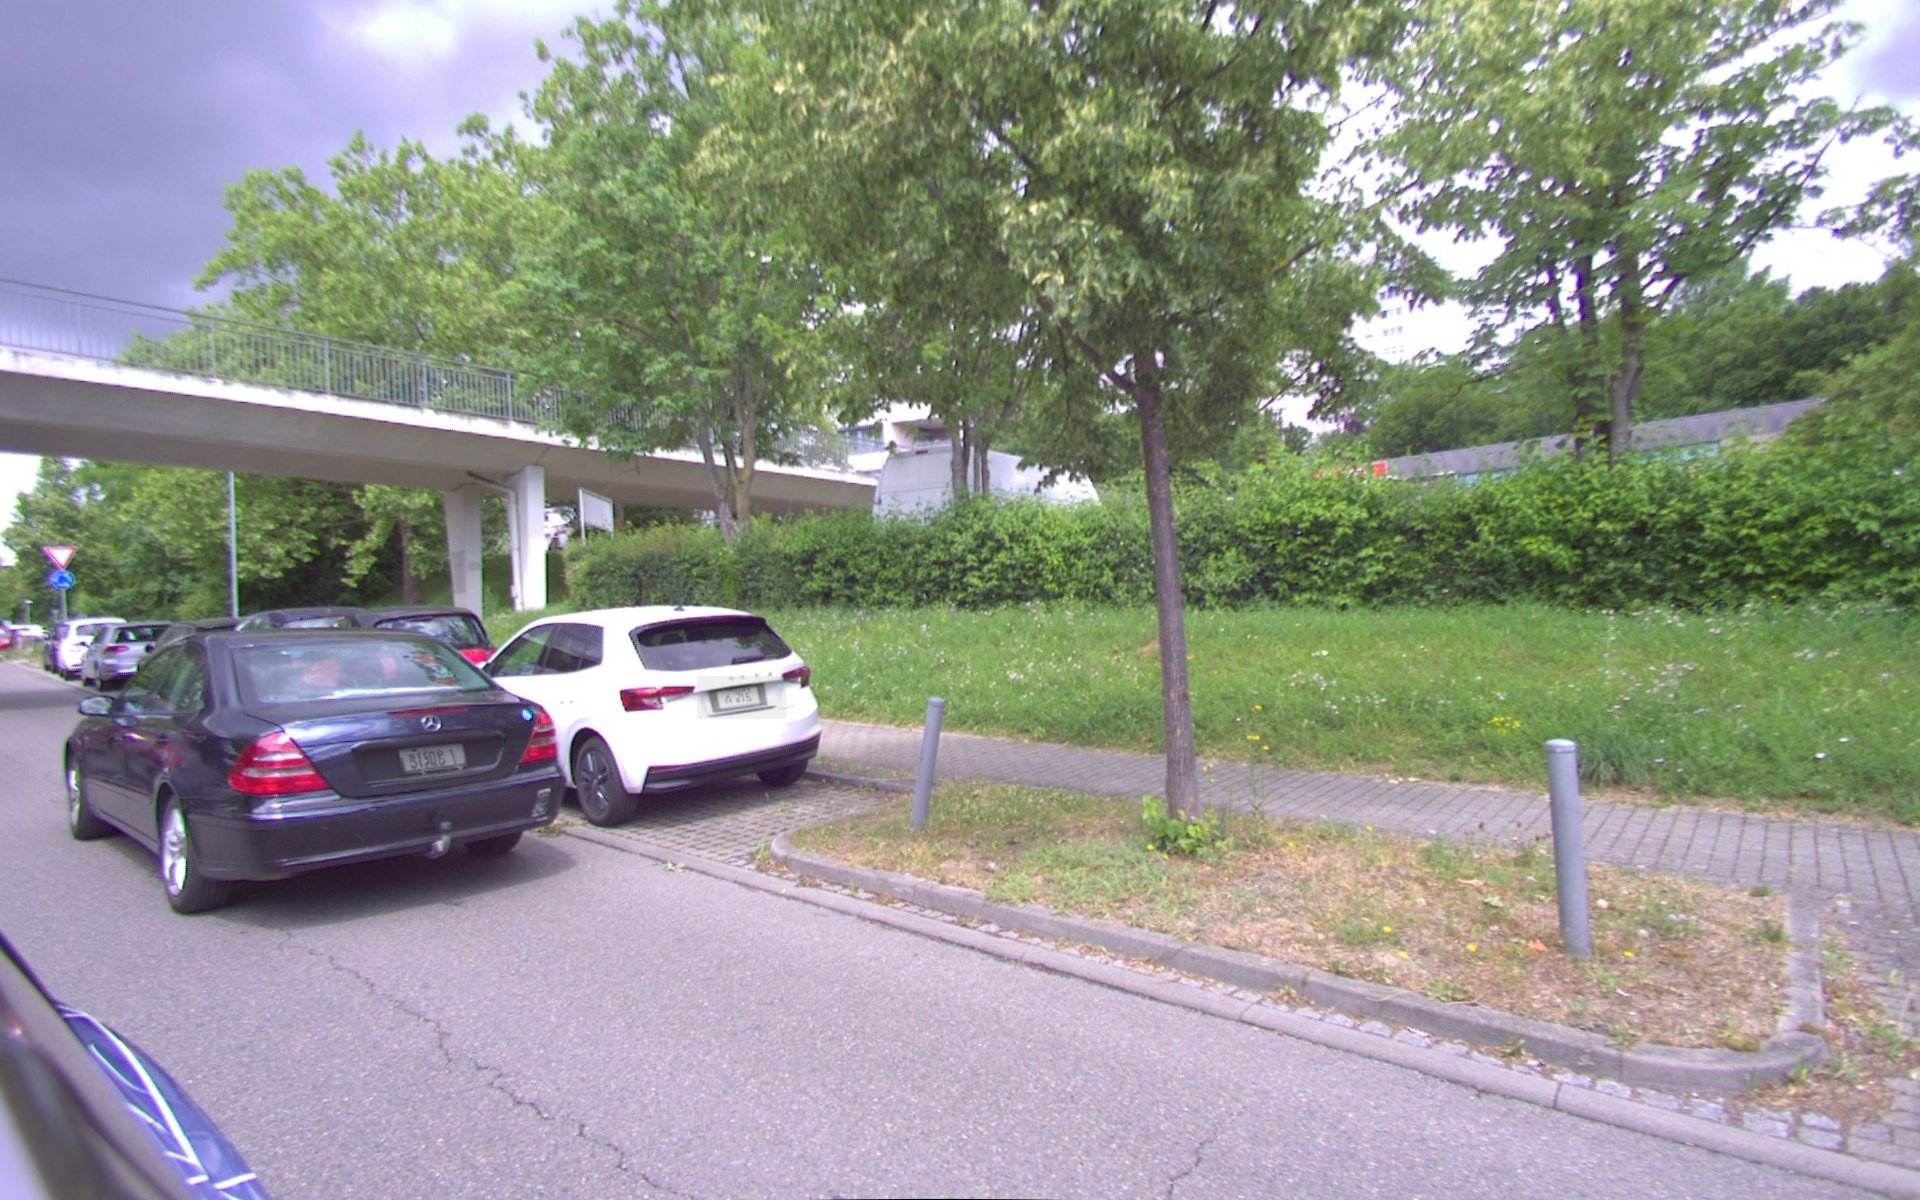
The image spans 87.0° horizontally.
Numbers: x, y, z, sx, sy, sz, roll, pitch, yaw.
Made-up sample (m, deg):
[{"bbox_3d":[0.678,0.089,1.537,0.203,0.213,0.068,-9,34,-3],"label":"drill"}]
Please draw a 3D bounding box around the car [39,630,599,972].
[{"bbox_3d":[-4.262,0.937,6.417,4.363,1.430,1.734,-2,-1,39],"label":"car"}]

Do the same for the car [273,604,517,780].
[{"bbox_3d":[-6.369,0.918,11.340,2.686,1.596,1.577,-1,3,44],"label":"car"}]

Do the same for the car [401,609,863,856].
[{"bbox_3d":[-2.853,0.865,8.330,4.047,1.415,1.789,-1,3,42],"label":"car"}]

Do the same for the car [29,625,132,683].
[{"bbox_3d":[-26.020,1.543,29.909,3.720,1.582,1.790,-1,-1,41],"label":"car"}]

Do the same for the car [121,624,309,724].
[{"bbox_3d":[-13.581,1.238,18.341,4.484,1.491,1.789,-1,1,41],"label":"car"}]

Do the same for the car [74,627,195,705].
[{"bbox_3d":[-18.841,1.415,23.041,1.787,1.466,3.864,-5,2,-43],"label":"car"}]

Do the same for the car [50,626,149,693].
[{"bbox_3d":[-22.717,1.497,26.679,1.787,1.582,3.725,0,-1,-43],"label":"car"}]

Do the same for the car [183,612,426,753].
[{"bbox_3d":[-9.275,1.055,14.201,3.983,1.596,1.790,-2,1,41],"label":"car"}]
